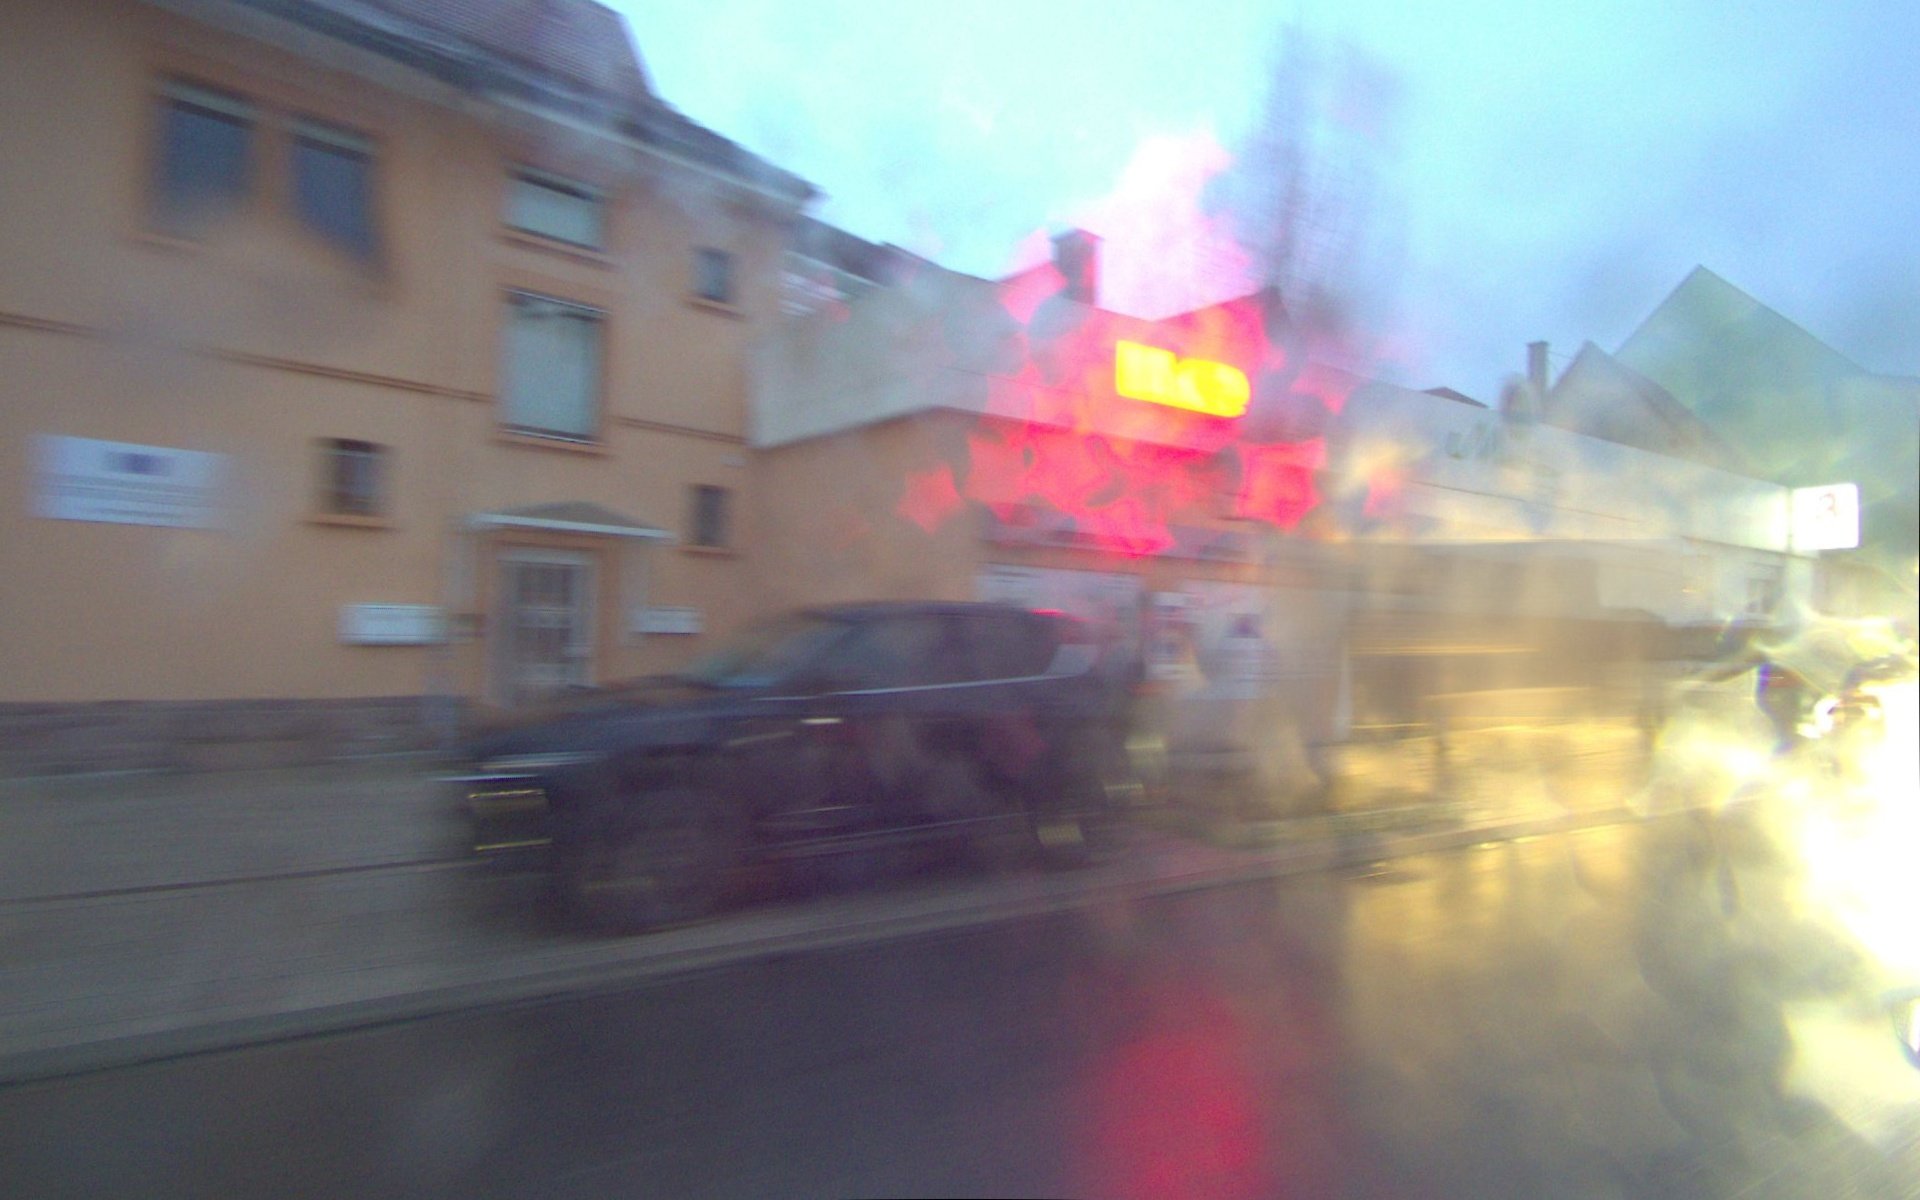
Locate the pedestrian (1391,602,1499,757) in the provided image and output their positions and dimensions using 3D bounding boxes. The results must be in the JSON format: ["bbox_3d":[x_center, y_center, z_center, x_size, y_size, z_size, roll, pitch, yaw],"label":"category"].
[{"bbox_3d":[6.248,0.997,13.004,0.924,1.901,1.013,1,-1,3],"label":"pedestrian"}]

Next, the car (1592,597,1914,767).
[{"bbox_3d":[10.401,0.919,13.036,4.976,1.816,2.071,1,-1,-37],"label":"car"}]

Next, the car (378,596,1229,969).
[{"bbox_3d":[-0.781,0.836,6.334,4.923,1.542,1.983,2,-1,-32],"label":"car"}]

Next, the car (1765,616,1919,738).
[{"bbox_3d":[15.386,1.197,16.602,4.662,1.733,1.869,2,0,-33],"label":"car"}]

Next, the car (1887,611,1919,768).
[{"bbox_3d":[13.118,1.034,11.955,4.915,1.729,1.981,0,2,-34],"label":"car"}]
